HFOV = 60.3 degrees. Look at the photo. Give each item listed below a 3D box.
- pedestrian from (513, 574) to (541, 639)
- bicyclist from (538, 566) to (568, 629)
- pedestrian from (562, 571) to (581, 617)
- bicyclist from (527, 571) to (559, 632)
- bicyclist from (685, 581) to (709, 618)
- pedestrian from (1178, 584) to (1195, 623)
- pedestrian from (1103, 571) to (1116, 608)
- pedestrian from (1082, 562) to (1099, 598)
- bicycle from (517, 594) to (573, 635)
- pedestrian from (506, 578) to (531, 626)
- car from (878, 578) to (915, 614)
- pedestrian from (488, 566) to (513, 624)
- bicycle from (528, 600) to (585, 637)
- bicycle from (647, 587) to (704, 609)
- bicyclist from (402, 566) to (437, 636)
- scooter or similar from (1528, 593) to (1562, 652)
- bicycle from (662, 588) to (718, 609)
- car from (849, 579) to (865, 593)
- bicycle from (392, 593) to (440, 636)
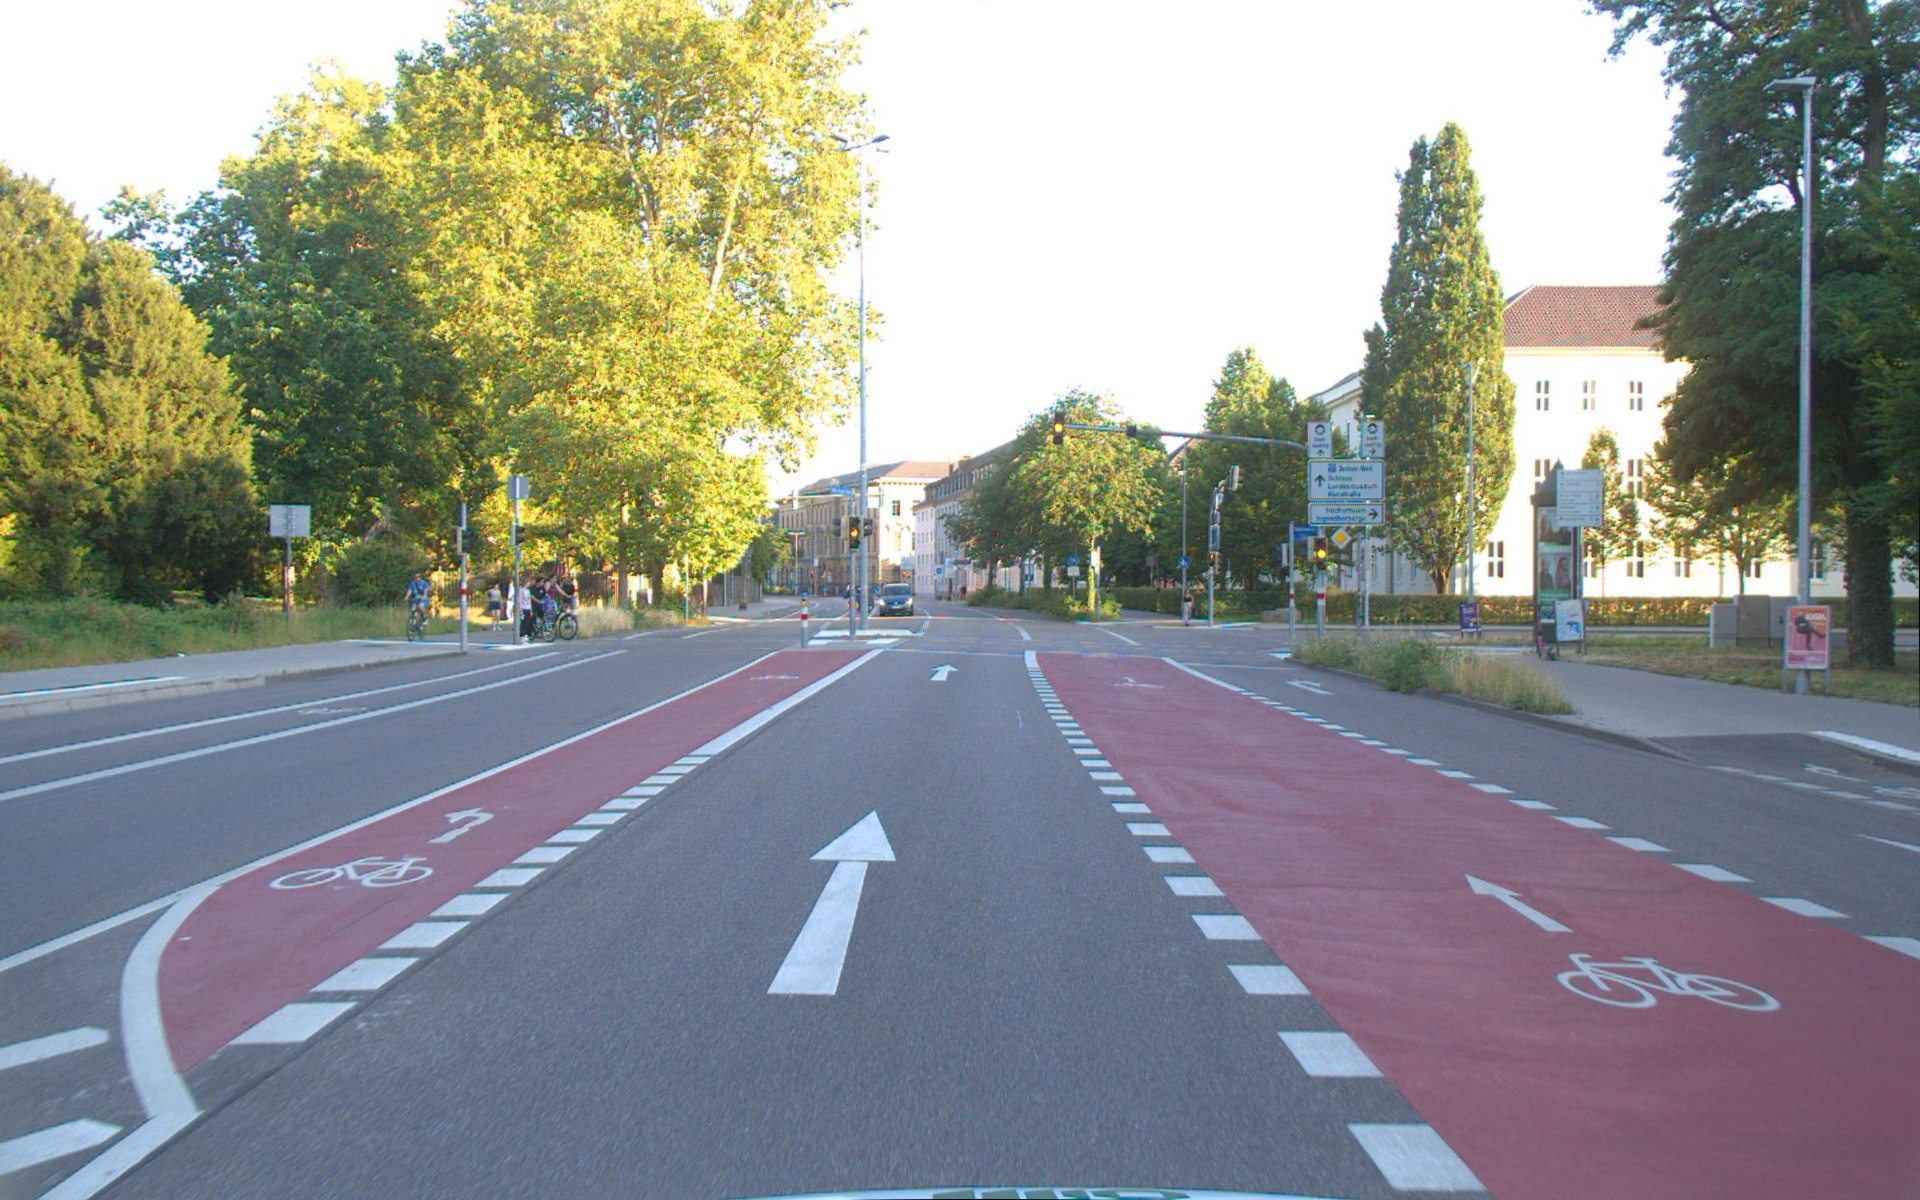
[{"bbox_3d":[-11.564,0.171,44.204,0.594,1.725,0.498,0,0,2],"label":"pedestrian"},{"bbox_3d":[-11.806,-0.074,48.030,0.626,1.811,0.575,0,0,32],"label":"bicyclist"},{"bbox_3d":[-17.223,-0.269,73.294,0.626,2.049,0.701,0,0,3],"label":"pedestrian"},{"bbox_3d":[-11.698,0.039,46.432,0.626,1.678,0.629,0,0,31],"label":"bicyclist"},{"bbox_3d":[-11.865,-0.032,74.742,0.938,1.659,0.753,0,0,1],"label":"bicyclist"},{"bbox_3d":[9.615,0.147,70.236,0.587,1.664,0.691,1,1,-1],"label":"pedestrian"},{"bbox_3d":[8.467,-0.583,93.721,0.622,2.049,0.720,1,0,-3],"label":"pedestrian"},{"bbox_3d":[7.342,-1.126,93.096,0.852,2.049,0.722,1,0,1],"label":"pedestrian"},{"bbox_3d":[-11.645,0.397,46.398,1.535,1.130,0.631,0,0,32],"label":"bicycle"},{"bbox_3d":[-19.160,0.095,71.792,0.786,2.049,0.994,1,0,1],"label":"pedestrian"},{"bbox_3d":[-3.247,-0.211,85.418,1.812,1.750,4.294,-2,0,-2],"label":"car"},{"bbox_3d":[-16.392,-0.184,59.032,0.644,2.049,0.598,1,0,-38],"label":"pedestrian"},{"bbox_3d":[-11.712,0.523,47.974,1.734,1.048,0.578,0,0,32],"label":"bicycle"},{"bbox_3d":[-12.604,-0.090,73.403,2.379,0.940,0.775,0,0,2],"label":"bicycle"},{"bbox_3d":[-14.632,0.026,44.806,0.720,1.856,0.712,1,0,-3],"label":"bicyclist"},{"bbox_3d":[12.806,0.478,36.215,0.304,1.252,1.311,0,0,1],"label":"scooter or similar"},{"bbox_3d":[-12.205,-0.054,74.762,2.379,0.940,0.775,0,0,2],"label":"bicycle"},{"bbox_3d":[-12.188,-1.624,195.563,1.783,1.616,3.998,-1,1,-3],"label":"car"},{"bbox_3d":[-14.746,0.373,44.899,0.755,1.120,2.120,0,1,-5],"label":"bicycle"}]
